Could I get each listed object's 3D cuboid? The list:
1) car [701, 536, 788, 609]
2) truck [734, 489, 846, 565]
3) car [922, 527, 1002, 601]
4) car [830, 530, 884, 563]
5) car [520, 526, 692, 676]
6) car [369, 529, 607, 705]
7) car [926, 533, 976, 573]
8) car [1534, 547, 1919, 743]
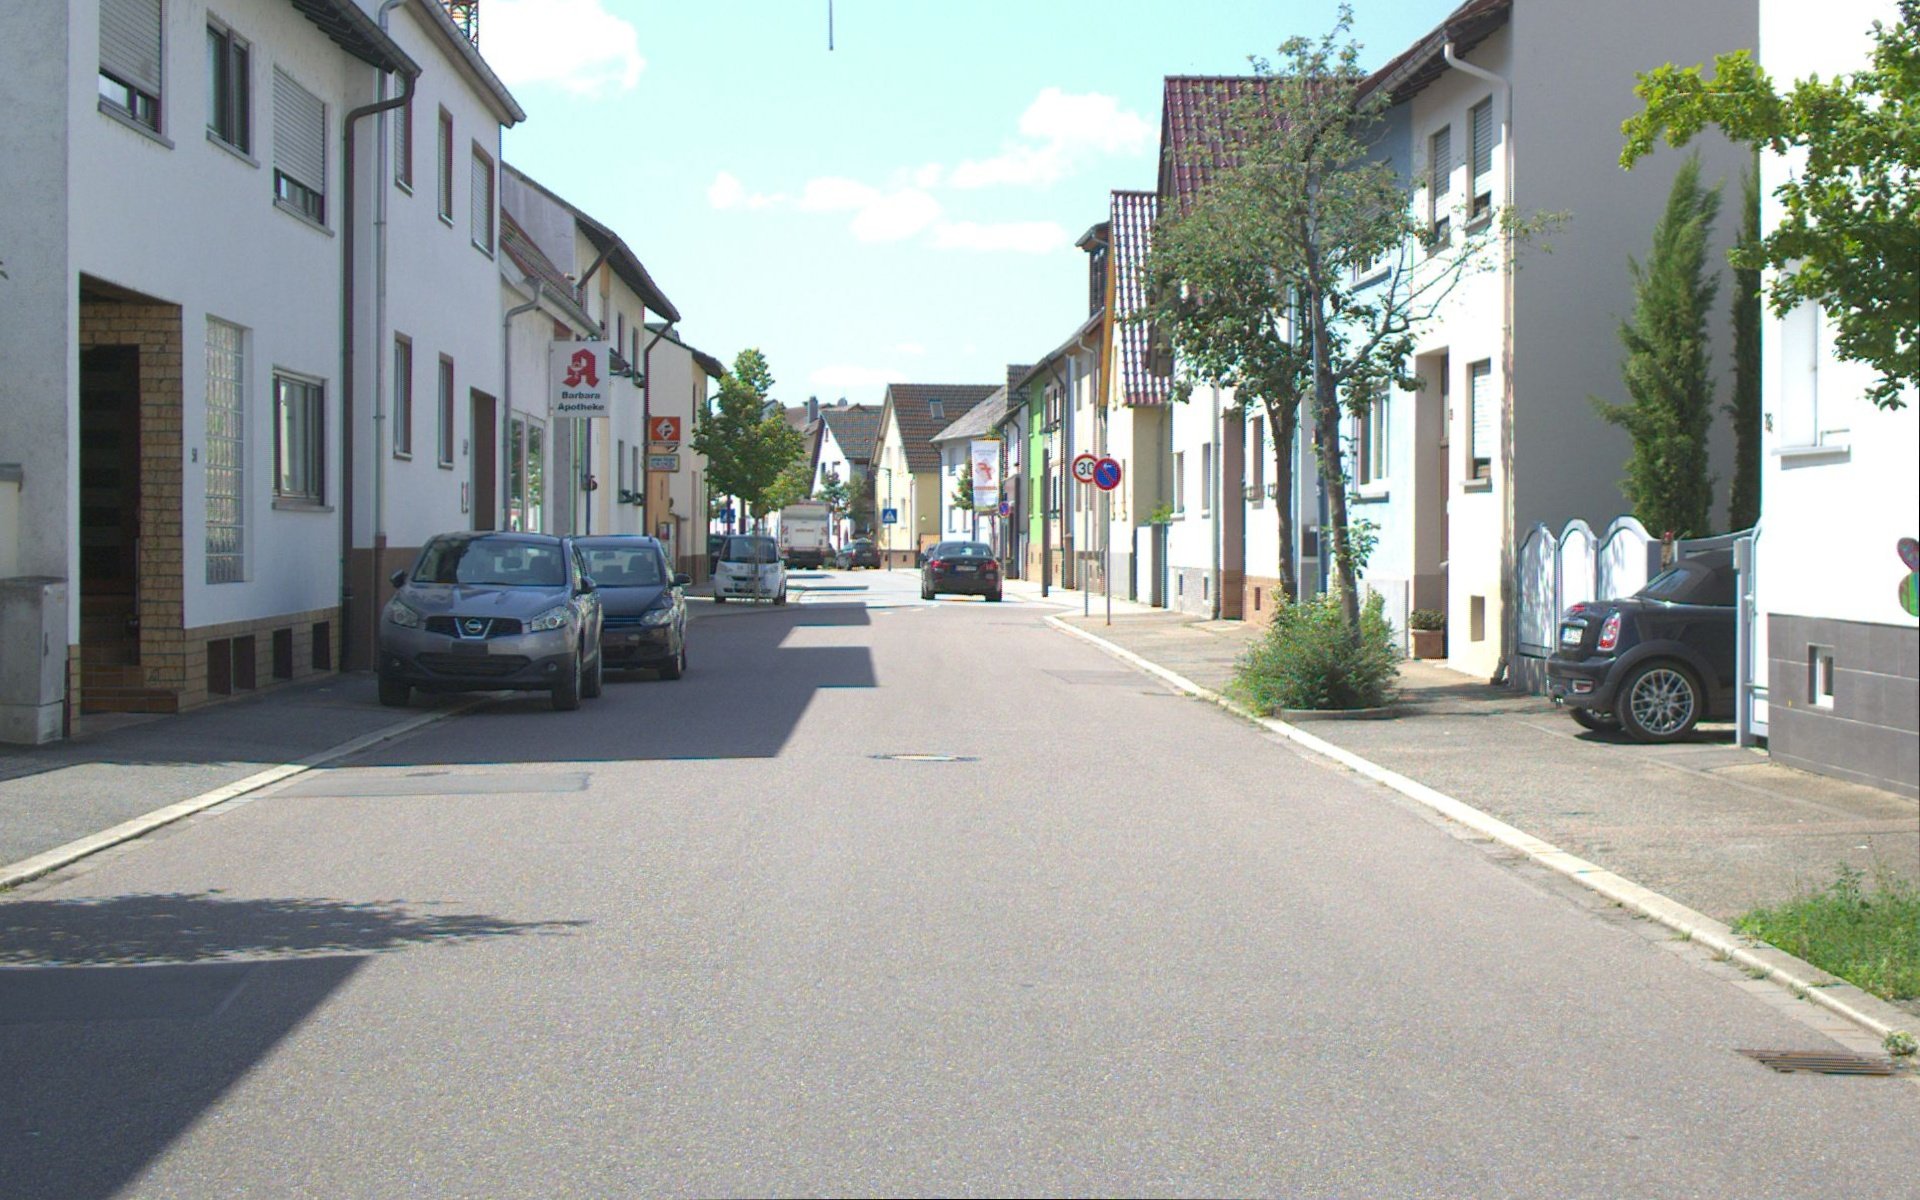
[{"bbox_3d":[-4.856,-0.649,77.941,1.723,1.550,4.172,2,1,-1],"label":"car"},{"bbox_3d":[-9.153,-3.824,183.234,3.378,3.852,13.930,-1,1,-14],"label":"truck"},{"bbox_3d":[0.028,-0.896,84.009,1.782,1.747,4.000,0,1,-2],"label":"car"},{"bbox_3d":[-5.564,-2.892,185.053,1.782,1.747,4.230,-1,1,-18],"label":"car"},{"bbox_3d":[-3.942,-0.034,38.780,1.653,1.603,4.061,0,1,-2],"label":"car"},{"bbox_3d":[-4.318,0.105,31.993,1.758,1.519,4.289,0,1,-2],"label":"car"},{"bbox_3d":[-0.369,-1.889,138.039,1.782,1.558,4.337,0,1,-3],"label":"car"},{"bbox_3d":[6.422,0.313,25.812,3.922,1.410,1.740,0,1,0],"label":"car"}]
